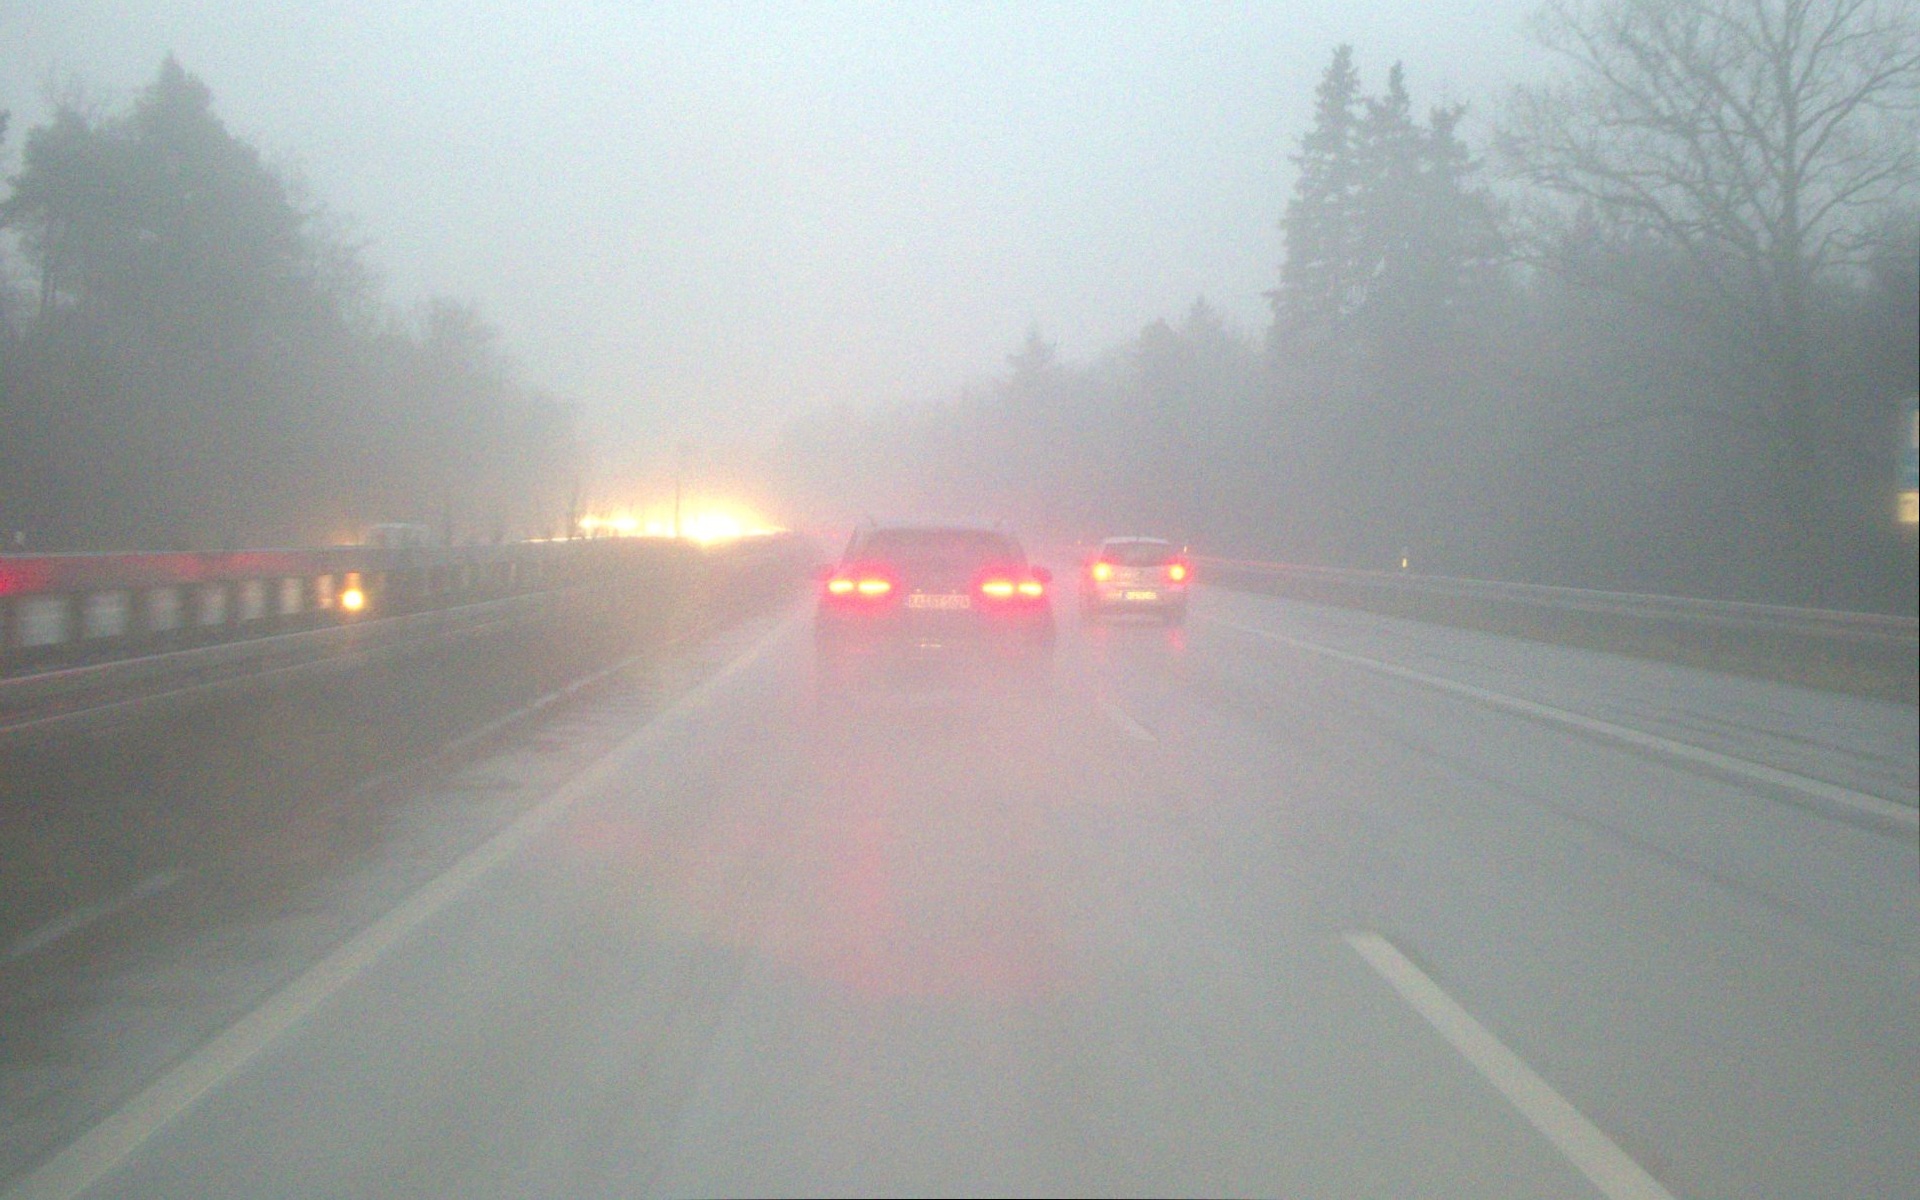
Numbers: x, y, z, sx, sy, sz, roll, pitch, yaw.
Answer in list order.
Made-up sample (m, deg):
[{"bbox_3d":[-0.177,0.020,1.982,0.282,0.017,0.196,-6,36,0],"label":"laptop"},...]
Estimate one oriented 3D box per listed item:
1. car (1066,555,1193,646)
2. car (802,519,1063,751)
[{"bbox_3d":[2.826,-0.009,57.836,1.780,1.432,3.538,1,1,-3],"label":"car"},{"bbox_3d":[-0.255,0.222,28.426,1.986,1.761,4.174,1,1,-1],"label":"car"}]
